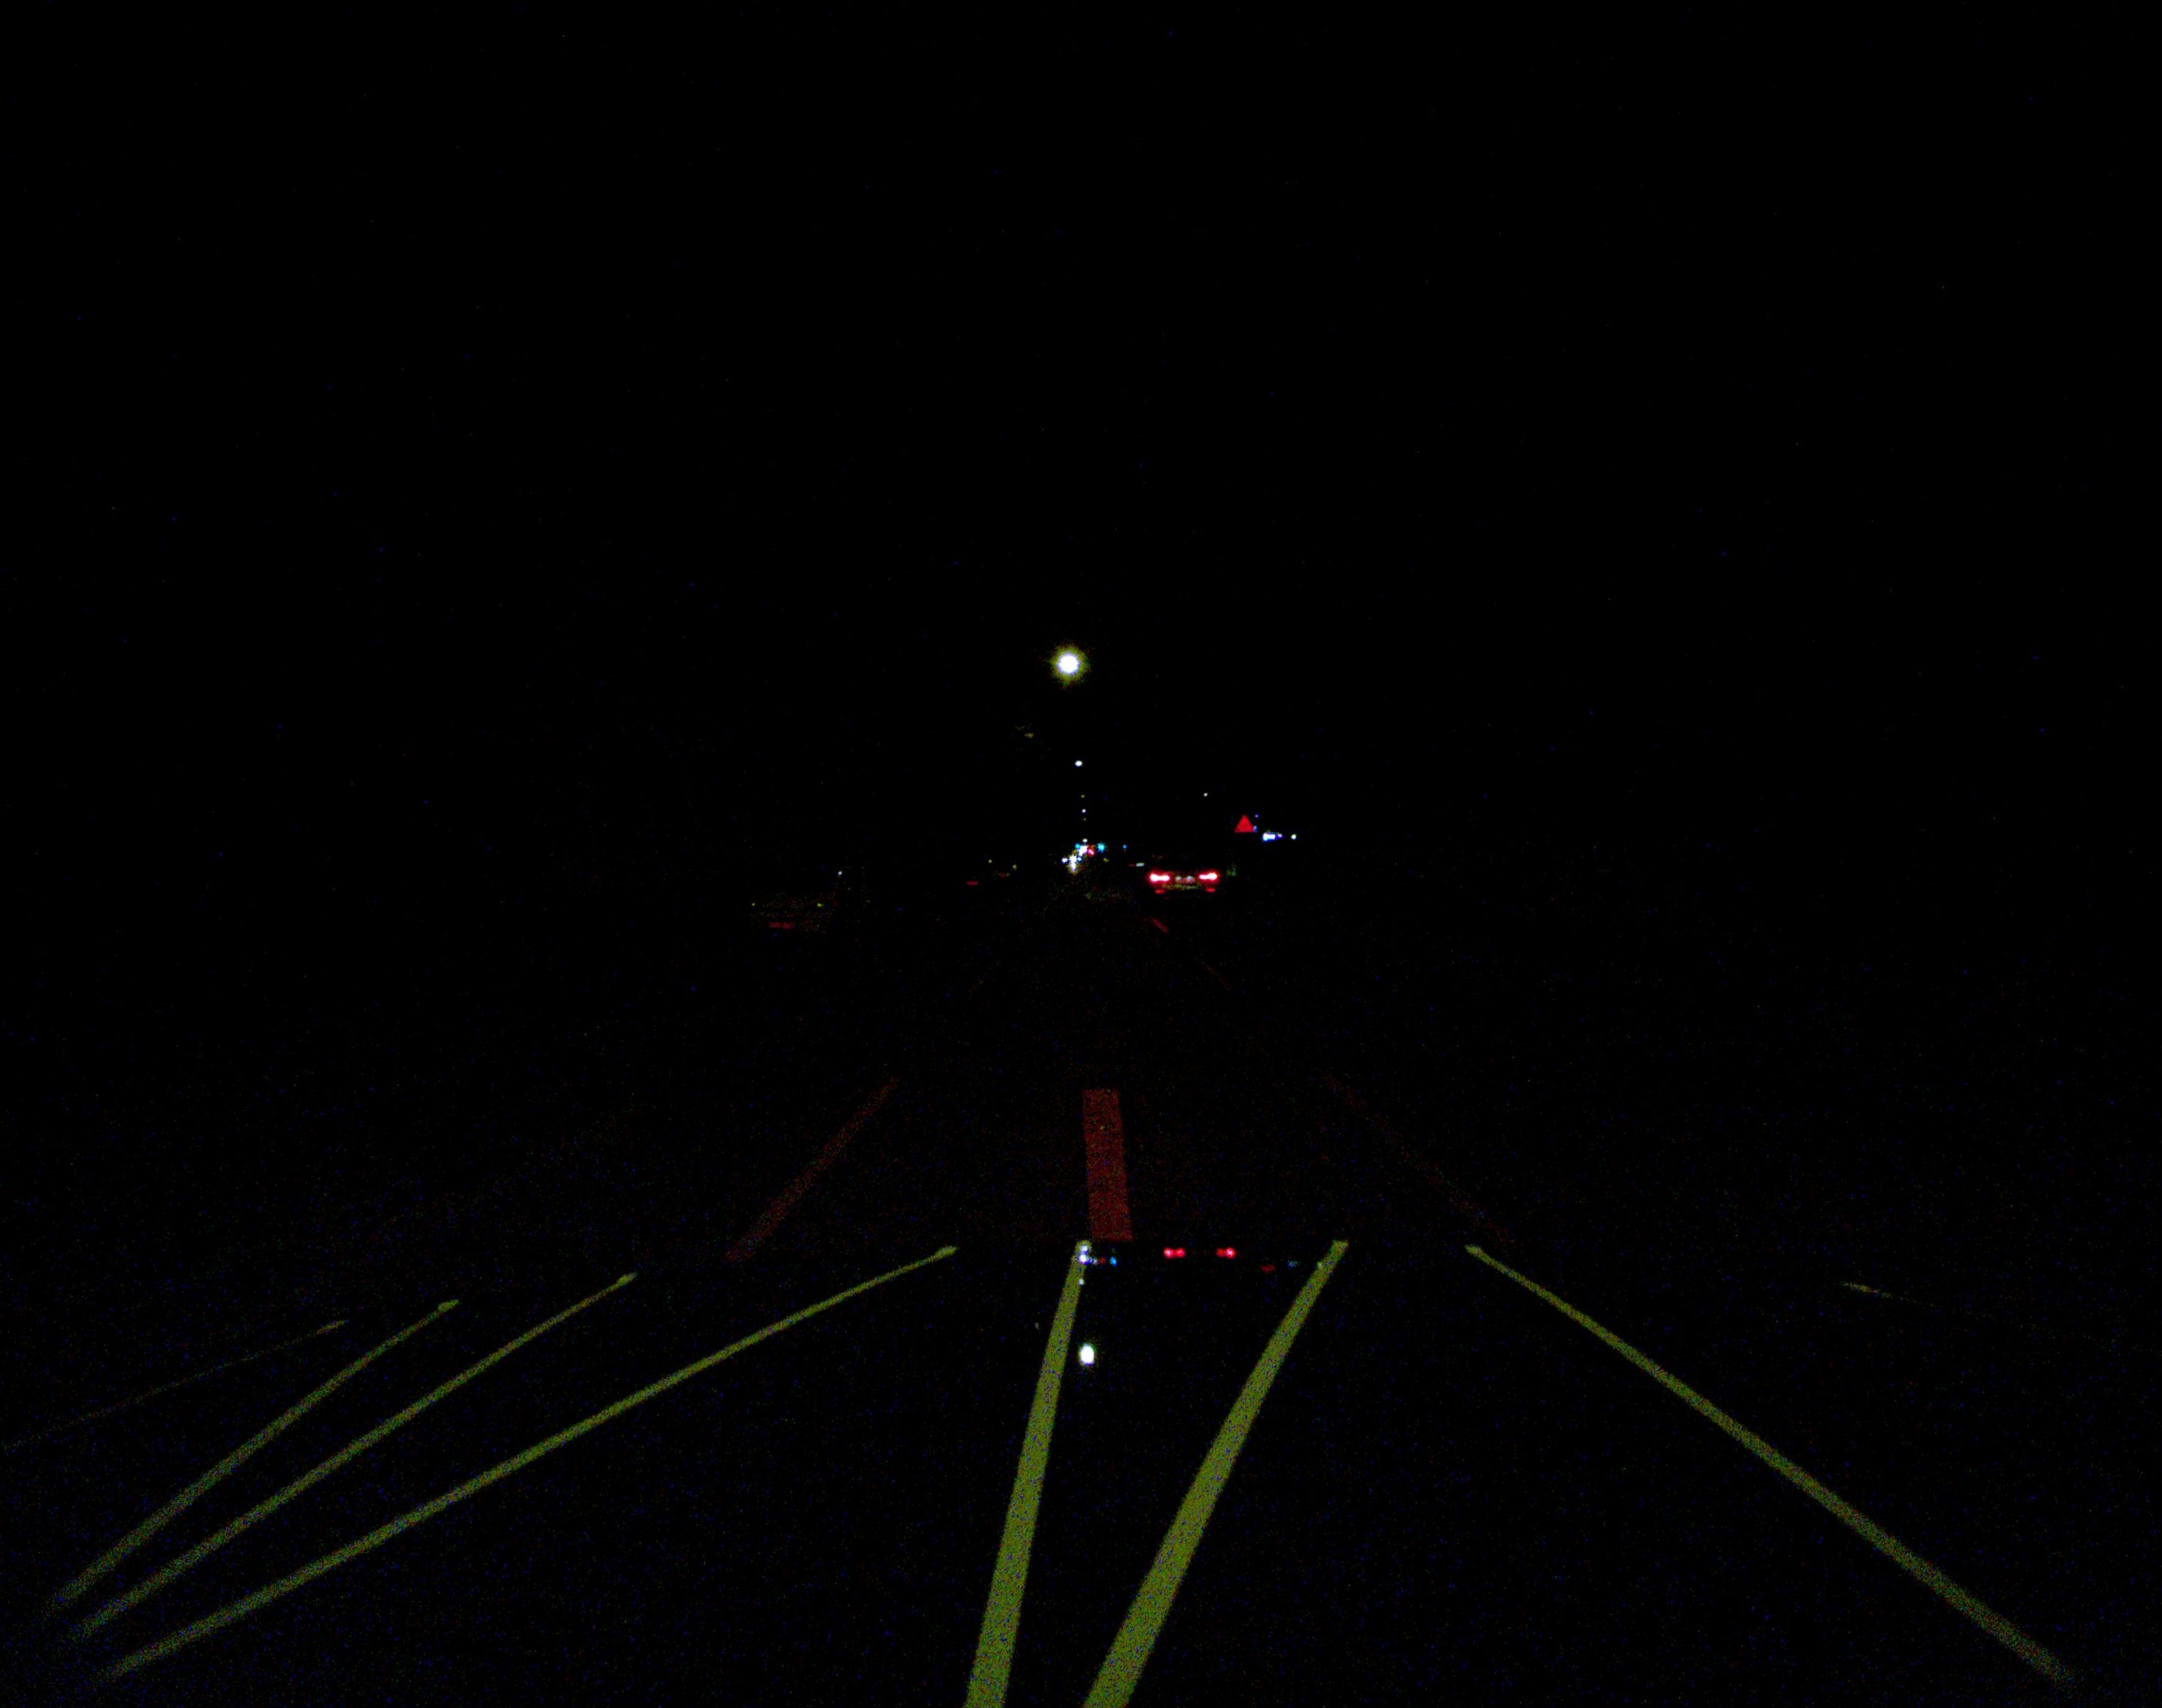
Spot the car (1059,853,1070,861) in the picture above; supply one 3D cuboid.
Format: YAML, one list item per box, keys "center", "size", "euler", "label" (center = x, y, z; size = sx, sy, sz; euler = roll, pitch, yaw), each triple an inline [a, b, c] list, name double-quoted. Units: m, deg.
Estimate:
- center: [-2.977, 0.556, 134.798]
  size: [1.874, 1.407, 3.999]
  euler: [-2, 0, 0]
  label: "car"

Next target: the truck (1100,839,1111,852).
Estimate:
- center: [4.973, -1.638, 155.505]
  size: [2.084, 2.562, 6.873]
  euler: [-2, 0, 1]
  label: "truck"

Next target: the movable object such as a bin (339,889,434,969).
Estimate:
- center: [-9.905, 1.052, 10.865]
  size: [0.609, 1.042, 0.755]
  euler: [-2, 1, 1]
  label: "movable object such as a bin"

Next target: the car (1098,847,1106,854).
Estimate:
- center: [5.008, -0.774, 180.310]
  size: [1.873, 1.551, 4.353]
  euler: [-2, 0, 1]
  label: "car"

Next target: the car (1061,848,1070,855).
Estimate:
- center: [-3.315, -0.612, 162.573]
  size: [1.874, 1.407, 3.999]
  euler: [-2, 0, 0]
  label: "car"

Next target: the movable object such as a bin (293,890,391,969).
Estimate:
- center: [-10.544, 1.062, 10.872]
  size: [0.609, 1.042, 0.755]
  euler: [-2, 1, 1]
  label: "movable object such as a bin"

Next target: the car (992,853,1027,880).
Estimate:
- center: [-4.449, 0.764, 47.807]
  size: [1.742, 1.588, 4.359]
  euler: [0, 0, 1]
  label: "car"

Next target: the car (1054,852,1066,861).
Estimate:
- center: [-3.575, 0.381, 129.080]
  size: [1.874, 1.407, 3.999]
  euler: [-2, 0, 0]
  label: "car"

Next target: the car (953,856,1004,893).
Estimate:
- center: [-4.566, 0.864, 34.286]
  size: [1.865, 1.544, 4.044]
  euler: [0, 0, -1]
  label: "car"

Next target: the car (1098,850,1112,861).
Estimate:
- center: [3.734, 0.195, 119.492]
  size: [1.874, 1.635, 3.999]
  euler: [-2, 0, -3]
  label: "car"

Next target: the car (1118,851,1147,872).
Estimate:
- center: [3.895, 0.552, 57.842]
  size: [1.864, 1.458, 3.896]
  euler: [-4, 0, -1]
  label: "car"

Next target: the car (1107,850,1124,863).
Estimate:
- center: [4.729, 0.345, 105.122]
  size: [1.874, 1.635, 3.999]
  euler: [-2, 0, -3]
  label: "car"

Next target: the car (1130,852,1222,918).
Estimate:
- center: [2.459, 0.754, 20.637]
  size: [1.862, 1.525, 4.027]
  euler: [-2, 0, -1]
  label: "car"

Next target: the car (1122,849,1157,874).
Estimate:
- center: [3.973, 0.509, 52.327]
  size: [1.864, 1.524, 4.587]
  euler: [-4, 0, -1]
  label: "car"

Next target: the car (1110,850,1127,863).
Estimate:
- center: [4.971, 0.318, 100.866]
  size: [1.874, 1.635, 3.999]
  euler: [-2, 0, -3]
  label: "car"

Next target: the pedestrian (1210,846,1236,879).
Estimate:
- center: [7.372, 0.421, 39.452]
  size: [1.104, 1.662, 0.743]
  euler: [-2, 1, -19]
  label: "pedestrian"

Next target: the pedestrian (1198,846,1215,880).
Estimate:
- center: [6.609, 0.473, 39.899]
  size: [0.670, 1.716, 0.866]
  euler: [-2, 1, -2]
  label: "pedestrian"

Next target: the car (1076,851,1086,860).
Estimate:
- center: [0.000, 0.341, 147.070]
  size: [1.874, 1.635, 3.999]
  euler: [-2, 0, 0]
  label: "car"

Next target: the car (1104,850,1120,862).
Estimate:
- center: [4.447, 0.286, 110.061]
  size: [1.874, 1.635, 3.999]
  euler: [-2, 0, -3]
  label: "car"

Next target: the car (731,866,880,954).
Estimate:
- center: [-5.334, 1.025, 15.200]
  size: [1.672, 1.476, 3.603]
  euler: [0, 0, 0]
  label: "car"
